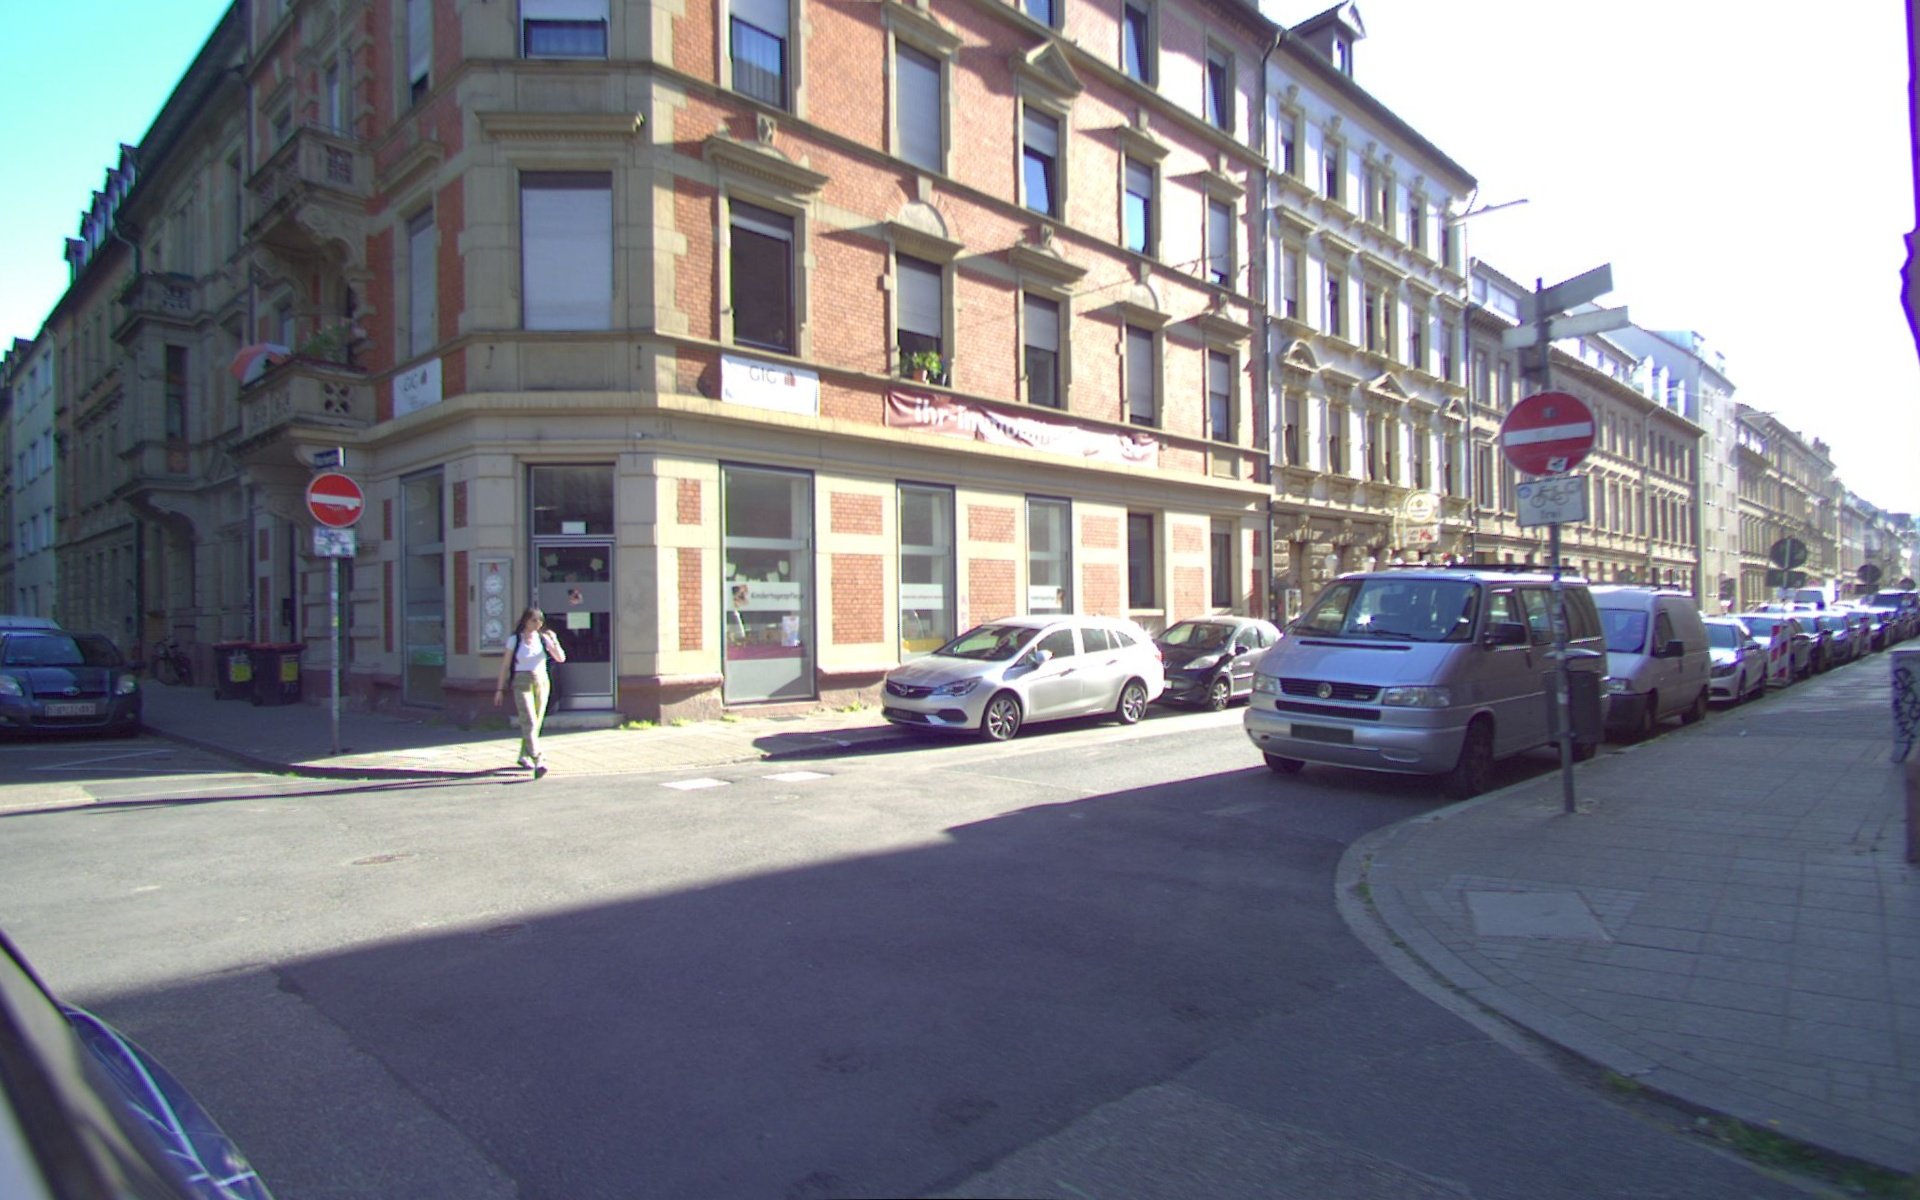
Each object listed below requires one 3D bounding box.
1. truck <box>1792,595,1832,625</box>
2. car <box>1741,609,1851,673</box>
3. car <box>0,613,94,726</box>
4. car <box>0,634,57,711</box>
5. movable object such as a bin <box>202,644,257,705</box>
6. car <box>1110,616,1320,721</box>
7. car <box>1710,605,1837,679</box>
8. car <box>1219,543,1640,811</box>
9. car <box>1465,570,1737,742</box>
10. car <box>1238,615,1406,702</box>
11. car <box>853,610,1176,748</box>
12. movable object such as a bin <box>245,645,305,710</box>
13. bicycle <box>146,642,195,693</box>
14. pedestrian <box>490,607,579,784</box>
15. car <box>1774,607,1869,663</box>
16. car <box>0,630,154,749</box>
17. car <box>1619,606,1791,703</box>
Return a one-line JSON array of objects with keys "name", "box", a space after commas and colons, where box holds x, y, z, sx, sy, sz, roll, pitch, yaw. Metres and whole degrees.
[{"name": "truck", "box": [59.038, 0.750, 70.107, 1.780, 2.006, 4.300, -2, -2, 44]}, {"name": "car", "box": [21.362, 1.010, 25.811, 1.780, 1.496, 4.300, -2, -2, 44]}, {"name": "car", "box": [-17.087, 1.198, 18.050, 4.570, 1.825, 1.812, -2, -4, 41]}, {"name": "car", "box": [-20.679, 1.496, 21.407, 3.968, 1.526, 1.676, -2, -4, 39]}, {"name": "movable object such as a bin", "box": [-13.475, 1.356, 18.657, 0.856, 1.049, 0.631, -2, 0, 41]}, {"name": "car", "box": [4.420, 1.075, 17.279, 3.636, 1.542, 1.774, 1, 0, -43]}, {"name": "car", "box": [18.243, 0.901, 22.635, 1.780, 1.496, 4.300, -2, -2, 44]}, {"name": "car", "box": [4.609, 0.578, 9.540, 4.655, 1.908, 2.029, 1, -1, -43]}, {"name": "car", "box": [8.554, 0.634, 13.342, 4.296, 1.908, 1.942, 1, 0, -42]}, {"name": "car", "box": [7.327, 1.100, 20.341, 3.482, 1.542, 1.774, 1, 0, -43]}, {"name": "car", "box": [0.872, 0.943, 13.777, 4.374, 1.542, 1.869, 1, 0, -43]}, {"name": "movable object such as a bin", "box": [-11.681, 1.304, 17.253, 0.856, 1.049, 0.631, -2, 0, 41]}, {"name": "bicycle", "box": [-17.493, 1.472, 22.402, 1.545, 1.049, 0.565, -2, 0, 41]}, {"name": "pedestrian", "box": [-4.189, 0.900, 9.953, 0.717, 1.656, 0.542, 1, 0, 41]}, {"name": "car", "box": [25.033, 1.005, 29.347, 1.780, 1.496, 4.300, -2, -2, 44]}, {"name": "car", "box": [-13.119, 1.210, 14.529, 3.971, 1.492, 1.675, -2, -4, 41]}, {"name": "car", "box": [12.901, 0.878, 17.419, 1.780, 1.453, 4.300, -2, -2, 44]}]
